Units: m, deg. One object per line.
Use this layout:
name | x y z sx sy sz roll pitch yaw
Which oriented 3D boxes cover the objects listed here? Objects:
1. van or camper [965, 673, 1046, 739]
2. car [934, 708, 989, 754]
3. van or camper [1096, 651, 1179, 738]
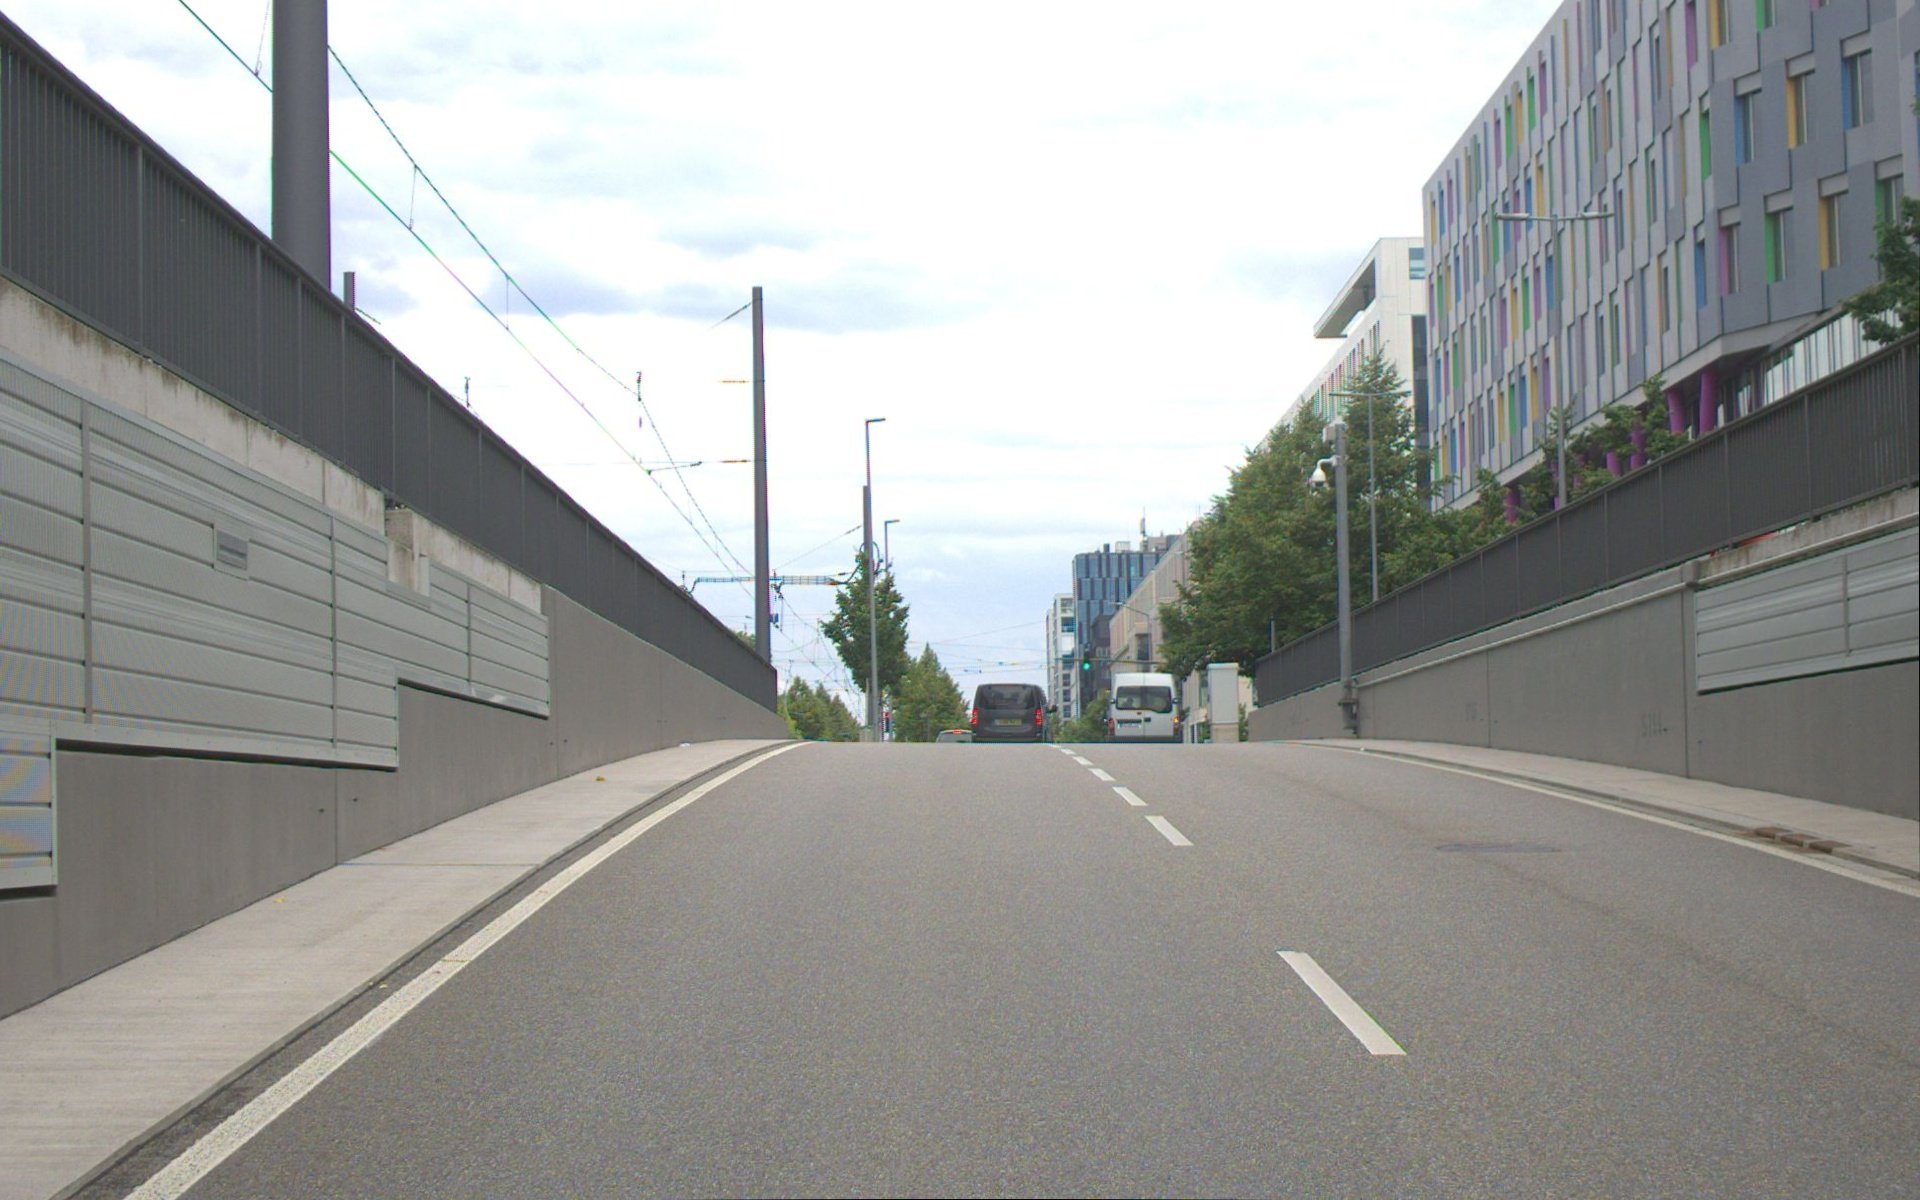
van or camper | 1.164 2.713 87.464 1.993 1.610 4.788 0 -3 1
car | 0.031 4.388 115.168 1.743 1.413 3.999 1 -4 -1
van or camper | 4.937 2.651 95.982 2.109 2.348 4.922 0 -2 1
